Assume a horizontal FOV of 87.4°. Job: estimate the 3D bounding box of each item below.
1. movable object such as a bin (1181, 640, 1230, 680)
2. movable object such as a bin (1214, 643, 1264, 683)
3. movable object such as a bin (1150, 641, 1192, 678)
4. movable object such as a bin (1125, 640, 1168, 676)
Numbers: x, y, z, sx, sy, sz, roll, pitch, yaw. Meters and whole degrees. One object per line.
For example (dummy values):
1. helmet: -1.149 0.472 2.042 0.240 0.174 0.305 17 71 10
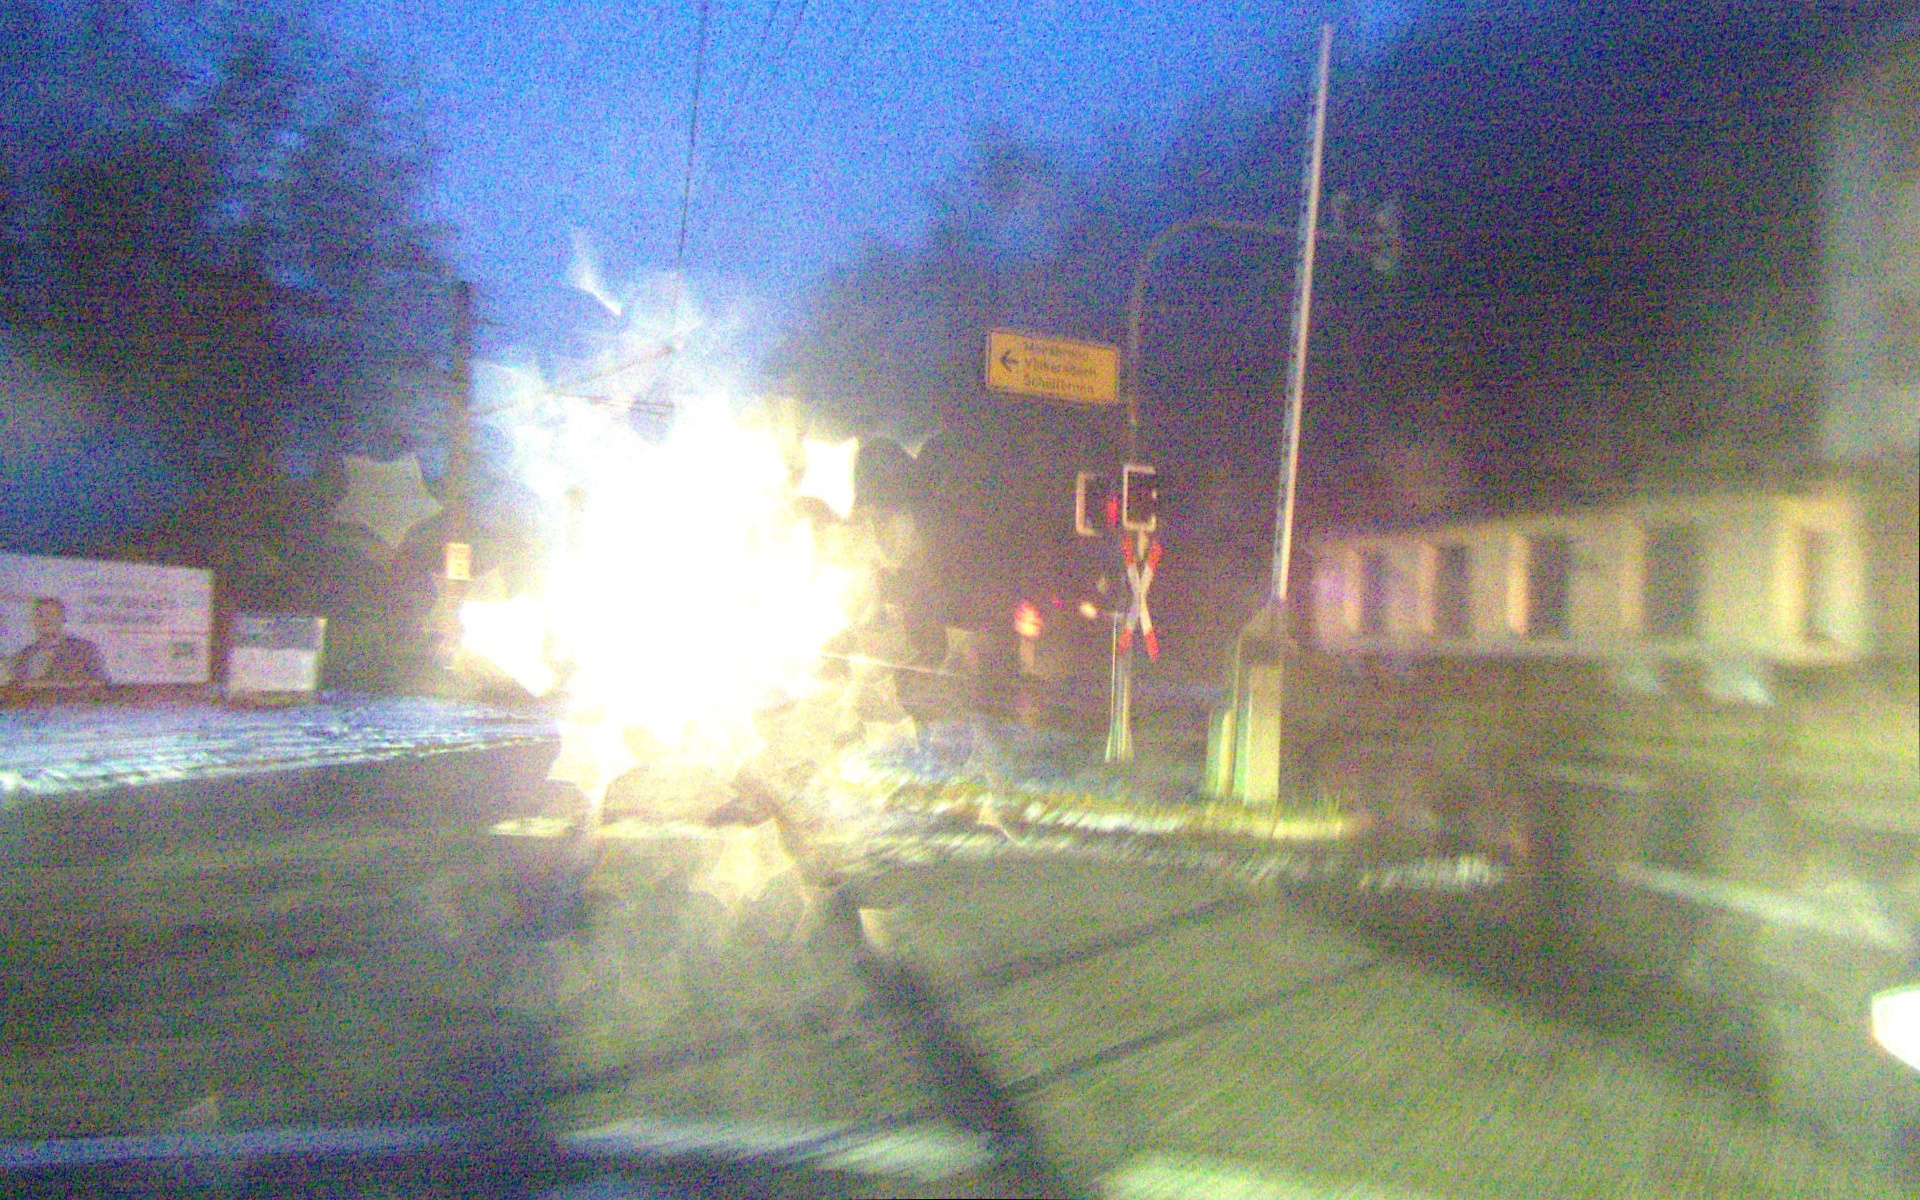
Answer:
1. movable object such as a bin: 9.129 2.229 37.353 1.371 1.431 1.245 -2 -3 41
2. movable object such as a bin: 10.092 2.261 36.319 1.299 1.316 1.245 1 -1 41
3. movable object such as a bin: 8.014 2.254 38.163 1.212 1.343 1.149 0 -1 36
4. movable object such as a bin: 7.291 2.252 39.198 1.300 1.326 1.173 -1 0 34
